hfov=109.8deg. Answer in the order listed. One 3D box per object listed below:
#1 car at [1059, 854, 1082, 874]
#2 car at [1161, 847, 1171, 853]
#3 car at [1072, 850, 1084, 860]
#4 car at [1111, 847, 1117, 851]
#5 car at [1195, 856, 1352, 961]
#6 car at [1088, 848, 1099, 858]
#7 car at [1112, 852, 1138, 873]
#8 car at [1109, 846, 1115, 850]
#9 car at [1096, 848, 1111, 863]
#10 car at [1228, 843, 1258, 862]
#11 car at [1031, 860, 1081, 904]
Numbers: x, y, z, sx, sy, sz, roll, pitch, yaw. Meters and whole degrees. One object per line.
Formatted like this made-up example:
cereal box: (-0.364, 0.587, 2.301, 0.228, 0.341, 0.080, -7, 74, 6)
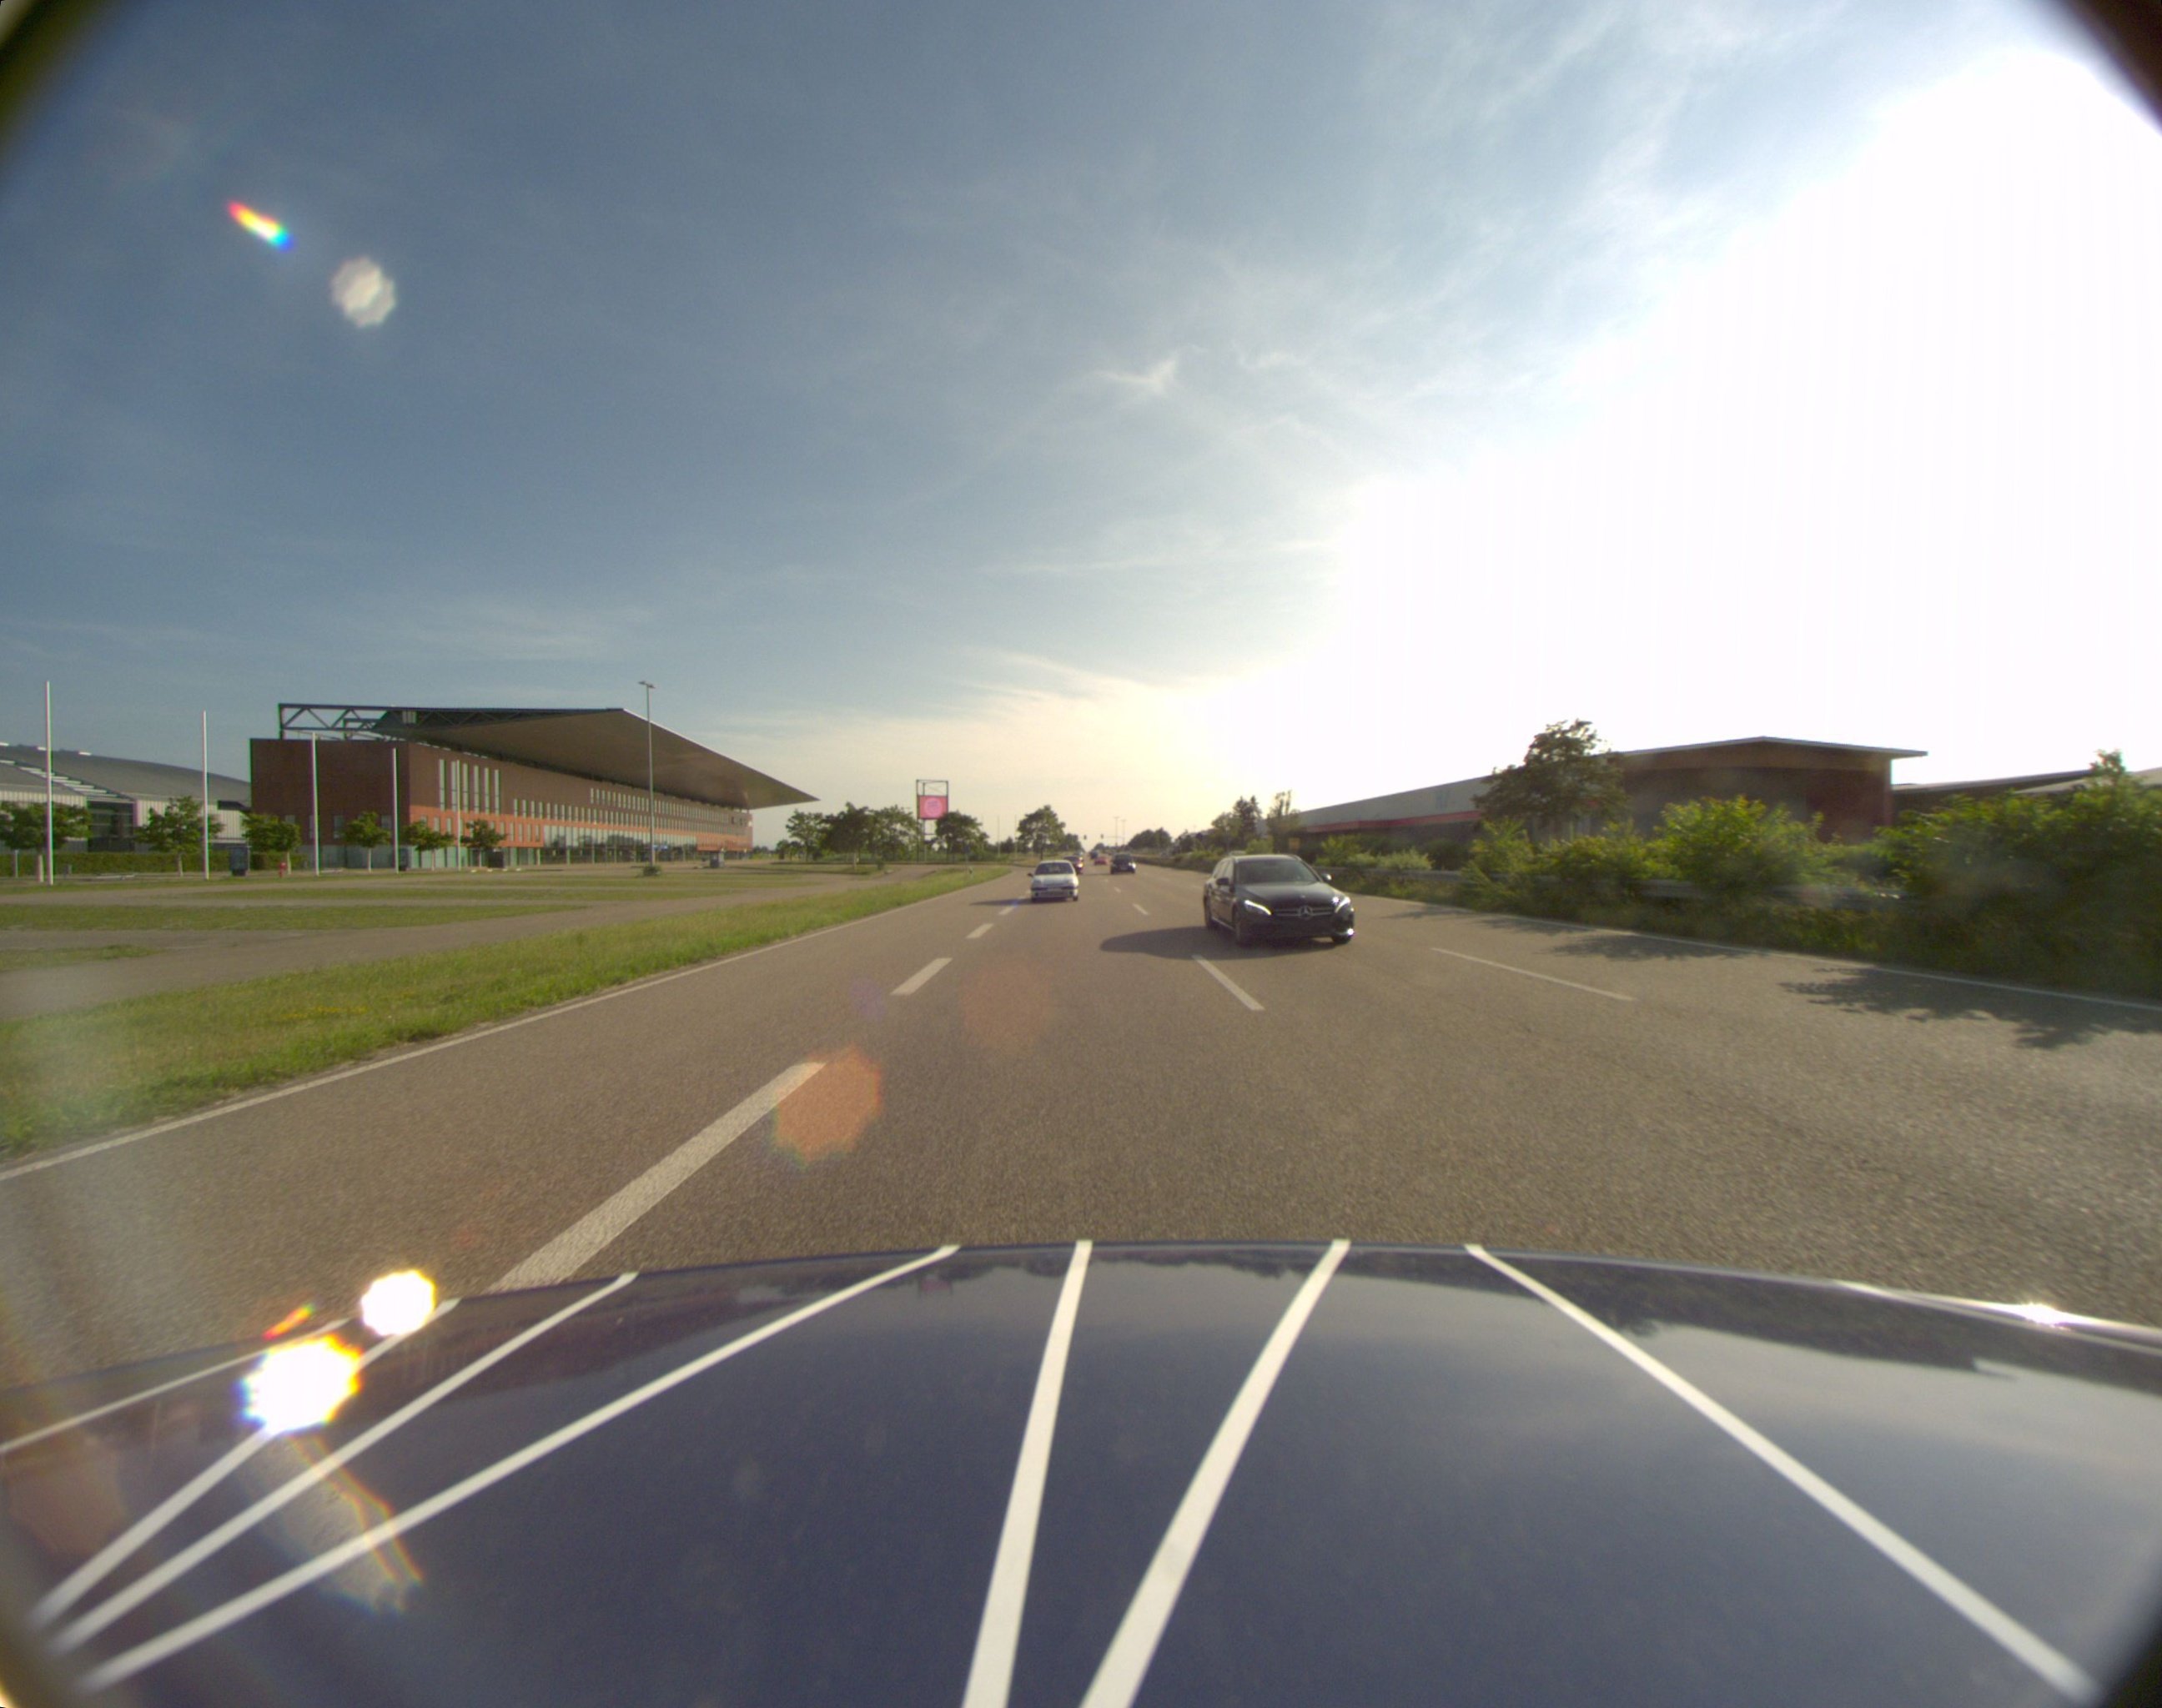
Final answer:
car: (-0.785, 0.817, 61.399, 1.751, 1.512, 3.739, -1, 0, 0)
car: (19.533, -0.965, 174.727, 1.784, 1.416, 4.000, 0, 1, 1)
car: (-0.442, 0.136, 117.857, 1.751, 1.512, 3.739, -1, 0, 0)
car: (10.461, -1.607, 241.504, 1.711, 1.428, 3.564, -1, 0, 0)
car: (3.187, 0.800, 13.593, 1.576, 1.462, 5.022, -1, 0, 1)
car: (2.552, -0.252, 156.093, 1.998, 2.002, 4.000, -1, 1, 0)
car: (3.320, 0.629, 57.971, 1.758, 1.499, 3.422, -1, 0, 0)
car: (10.776, -2.102, 262.728, 1.751, 1.512, 3.738, -1, 0, -2)
car: (2.988, 0.187, 100.343, 1.799, 1.926, 4.000, -1, 1, 0)
car: (15.121, -0.187, 71.201, 1.933, 1.603, 3.999, -2, 1, 0)
car: (-0.834, 0.938, 27.017, 1.578, 1.371, 3.451, -1, 0, 0)
